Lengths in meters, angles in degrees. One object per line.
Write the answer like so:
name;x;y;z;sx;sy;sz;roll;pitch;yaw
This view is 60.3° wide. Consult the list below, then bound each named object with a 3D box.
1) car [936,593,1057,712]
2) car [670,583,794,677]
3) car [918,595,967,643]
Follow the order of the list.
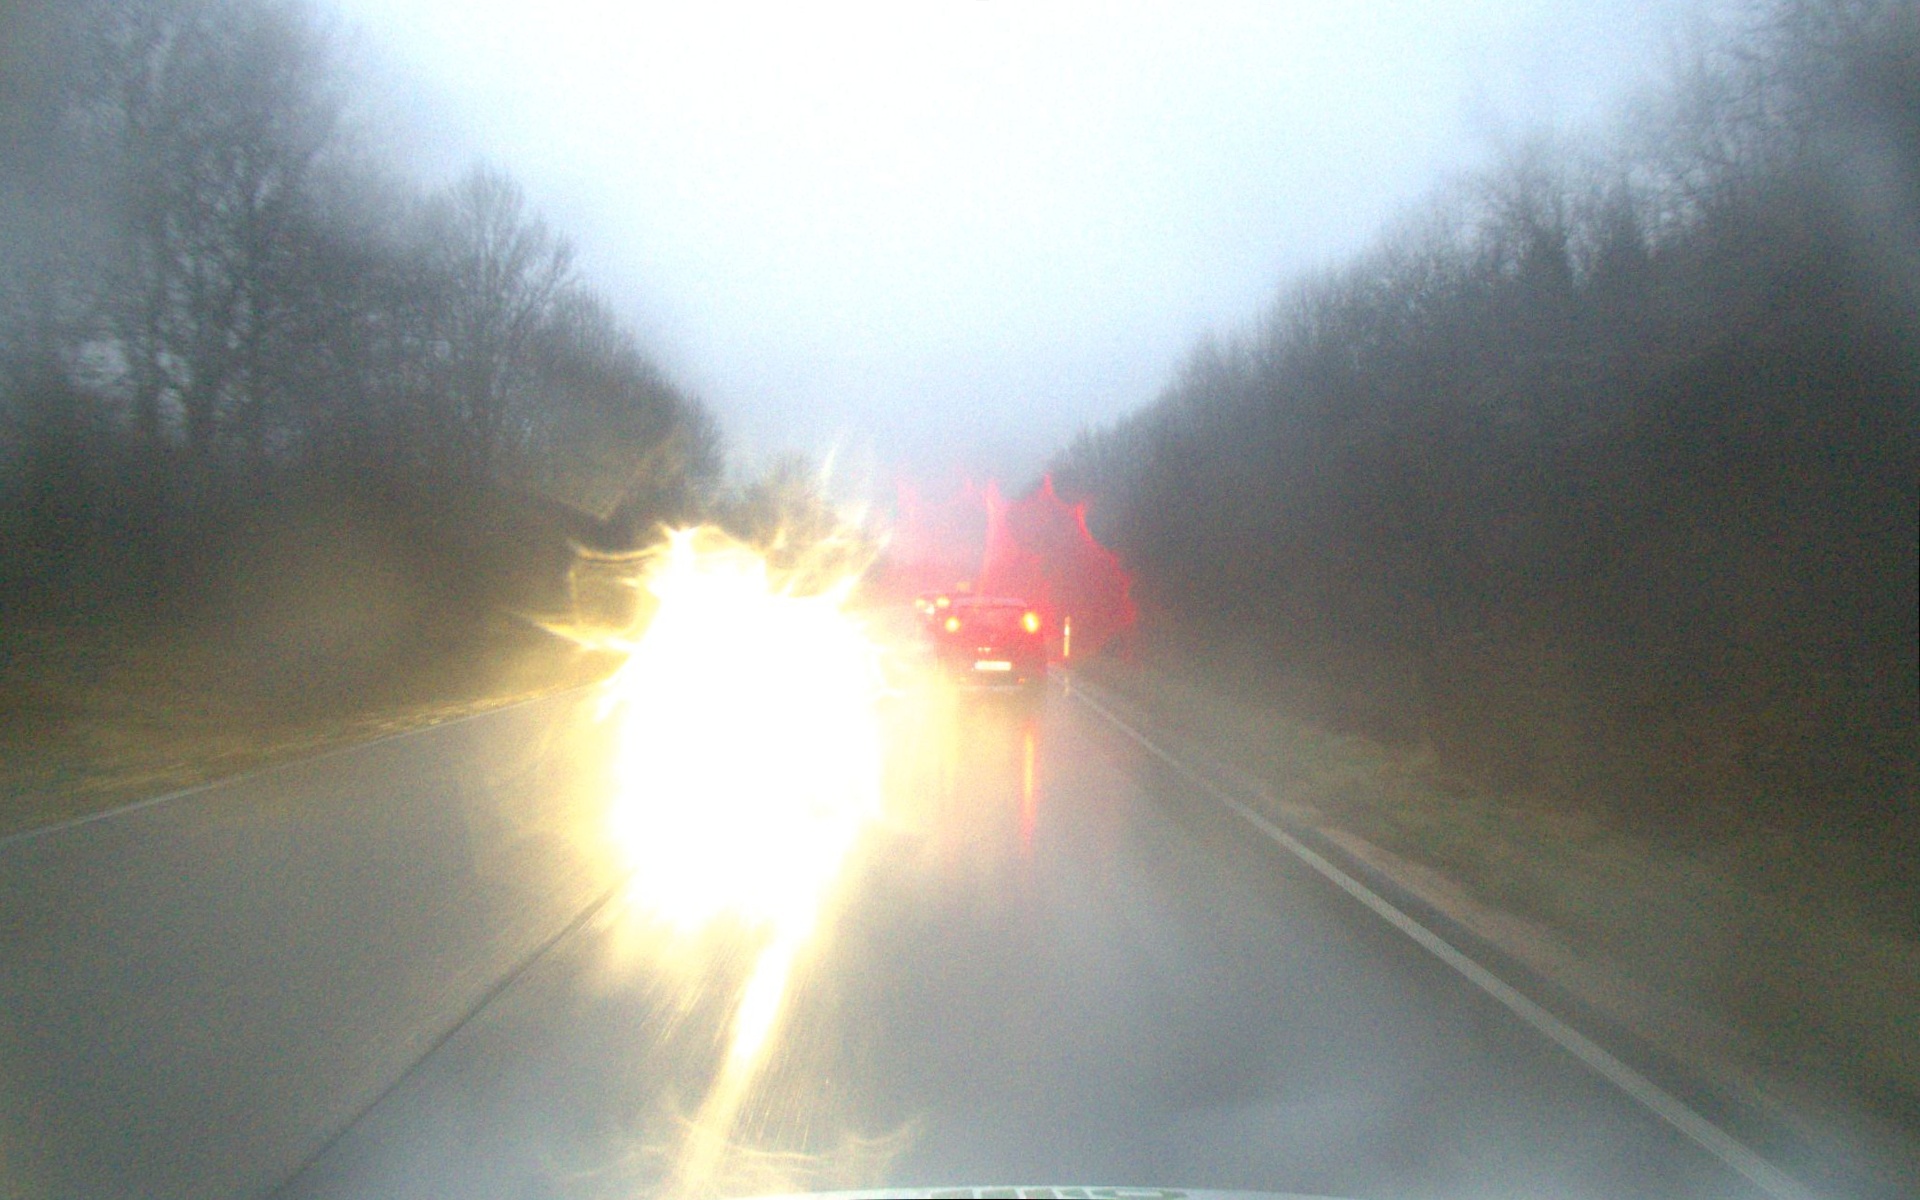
car;0.537;0.754;25.530;1.692;1.672;4.000;1;0;0
car;-4.224;0.518;31.182;1.834;1.635;4.195;1;0;-1
car;-0.619;0.691;60.576;1.692;1.672;4.000;1;0;0
